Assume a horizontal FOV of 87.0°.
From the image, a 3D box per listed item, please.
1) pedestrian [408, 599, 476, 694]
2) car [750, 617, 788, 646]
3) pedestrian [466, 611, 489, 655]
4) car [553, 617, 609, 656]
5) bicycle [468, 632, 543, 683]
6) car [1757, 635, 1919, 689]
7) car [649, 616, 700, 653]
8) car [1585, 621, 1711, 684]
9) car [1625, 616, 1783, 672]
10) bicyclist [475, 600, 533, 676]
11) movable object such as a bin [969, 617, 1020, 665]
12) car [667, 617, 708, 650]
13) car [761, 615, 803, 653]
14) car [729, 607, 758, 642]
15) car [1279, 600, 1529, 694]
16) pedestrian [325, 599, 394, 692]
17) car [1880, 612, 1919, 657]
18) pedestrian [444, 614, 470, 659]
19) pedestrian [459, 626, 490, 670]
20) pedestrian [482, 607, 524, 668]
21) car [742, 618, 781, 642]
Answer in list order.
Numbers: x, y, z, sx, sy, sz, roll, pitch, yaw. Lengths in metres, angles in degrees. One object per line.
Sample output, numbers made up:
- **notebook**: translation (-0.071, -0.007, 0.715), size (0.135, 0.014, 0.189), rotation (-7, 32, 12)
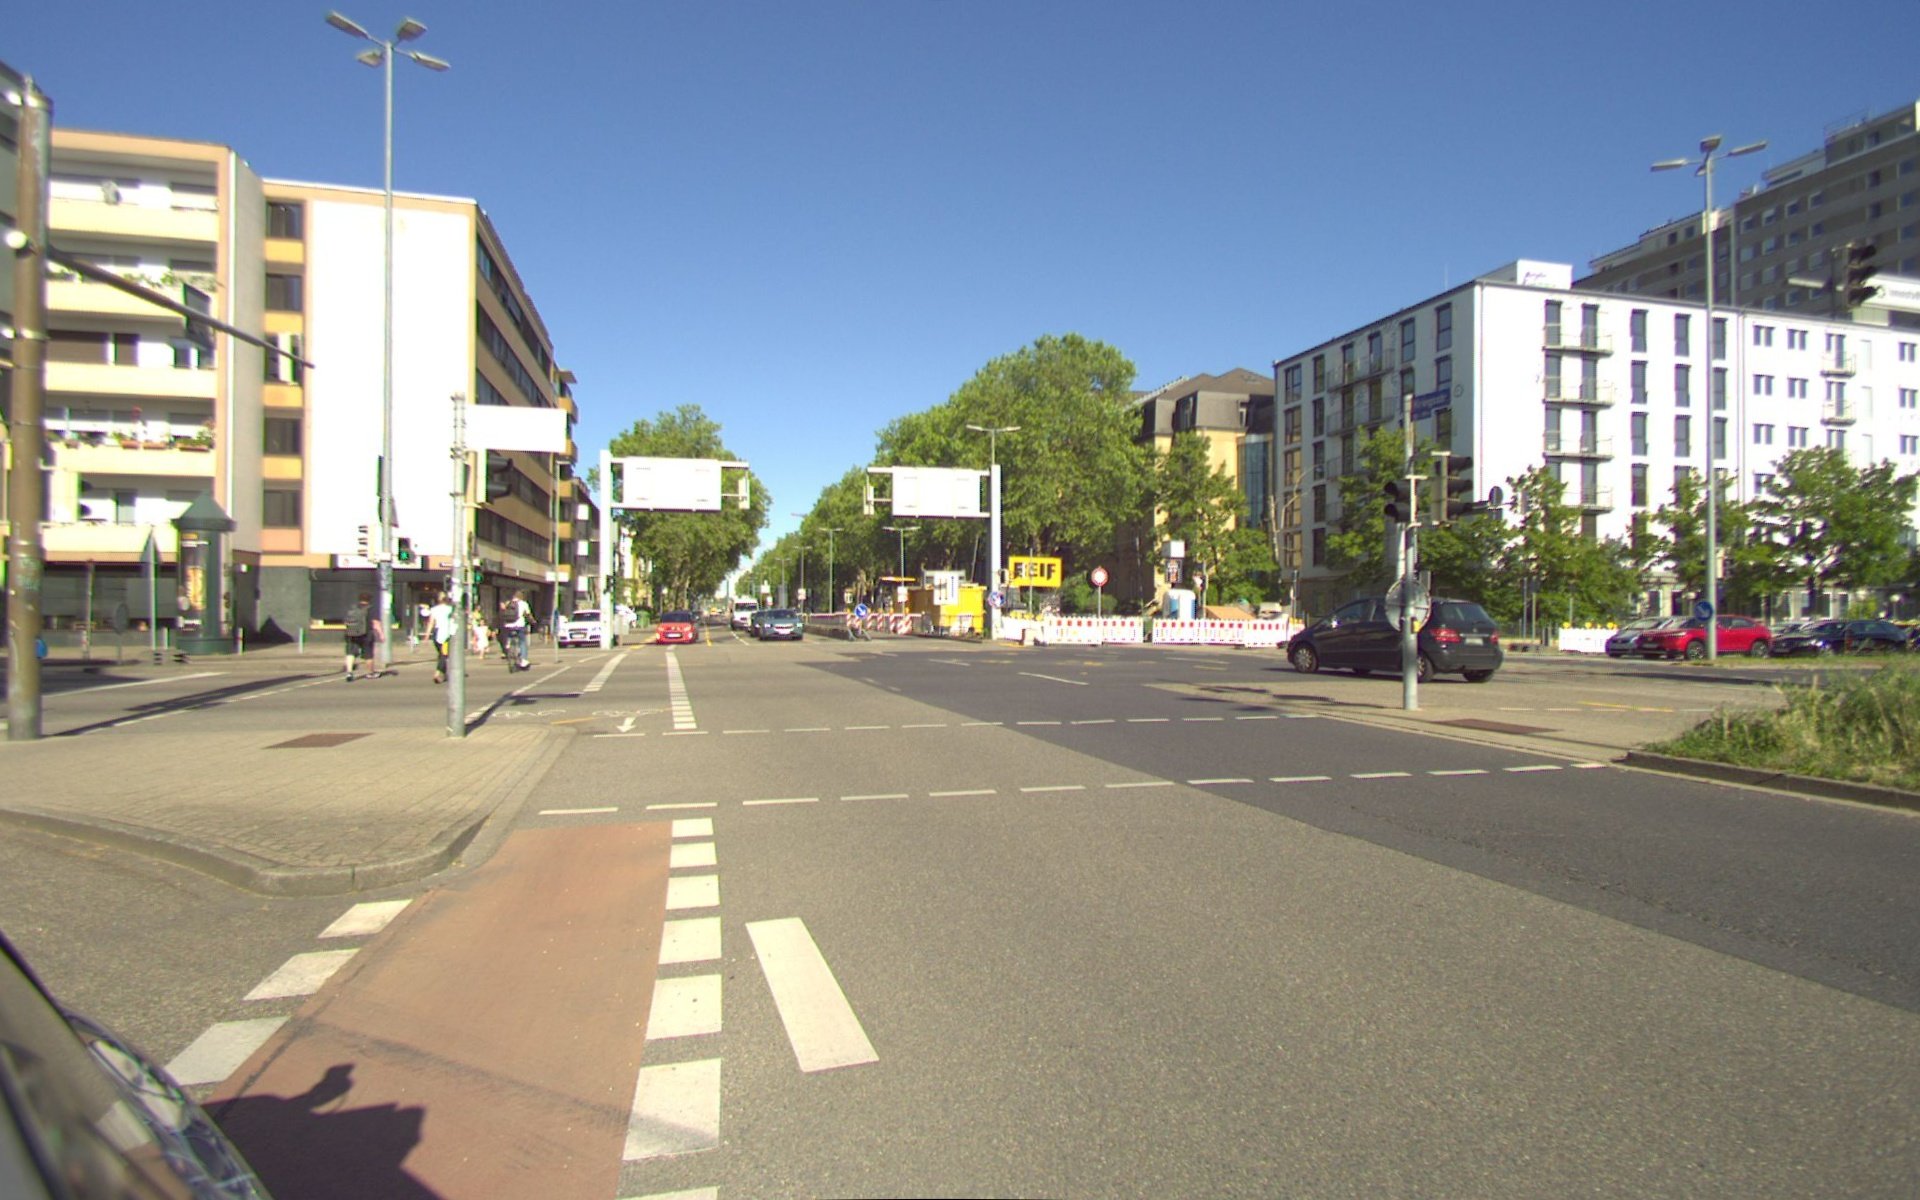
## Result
- **pedestrian**: translation (-9.407, 0.820, 18.378), size (0.929, 1.619, 0.777), rotation (1, 2, 39)
- **car**: translation (-10.674, 1.736, 56.319), size (1.853, 1.530, 4.011), rotation (0, -1, -14)
- **pedestrian**: translation (-19.215, 1.288, 40.301), size (0.707, 1.691, 0.699), rotation (-1, 2, -15)
- **car**: translation (-16.337, 1.591, 43.807), size (1.853, 1.530, 4.562), rotation (-1, -2, -15)
- **bicycle**: translation (-9.615, 1.205, 21.468), size (0.854, 0.998, 1.904), rotation (0, -1, -4)
- **car**: translation (30.657, 2.123, 35.162), size (4.636, 1.630, 1.923), rotation (-1, 2, -8)
- **car**: translation (-12.739, 1.509, 45.348), size (1.854, 1.530, 4.009), rotation (-1, 0, -10)
- **car**: translation (25.578, 1.916, 37.628), size (3.931, 2.028, 2.007), rotation (-1, 2, -22)
- **car**: translation (24.533, 1.416, 33.437), size (3.936, 1.630, 1.923), rotation (-1, 2, -8)
- **bicyclist**: translation (-9.602, 0.788, 21.333), size (0.857, 1.545, 0.853), rotation (0, 0, -3)
- **movable object such as a bin**: translation (2.009, 2.345, 59.683), size (1.966, 2.493, 4.011), rotation (-1, 2, -14)
- **car**: translation (-15.048, 1.812, 56.076), size (1.854, 1.530, 4.009), rotation (-1, 2, -10)
- **car**: translation (-8.522, 1.584, 48.407), size (1.854, 1.530, 4.009), rotation (-1, 2, -10)
- **car**: translation (-16.244, 1.824, 75.708), size (1.853, 2.531, 4.463), rotation (0, -1, -15)
- **car**: translation (8.330, 0.823, 19.456), size (1.831, 1.597, 4.292), rotation (0, -1, -23)
- **pedestrian**: translation (-11.279, 0.821, 19.012), size (0.984, 1.655, 0.787), rotation (1, 2, 39)
- **car**: translation (38.584, 1.315, 39.552), size (3.934, 1.630, 1.924), rotation (-1, 2, -12)
- **pedestrian**: translation (-19.532, 1.396, 39.277), size (0.709, 1.691, 0.697), rotation (-2, 3, -43)
- **pedestrian**: translation (-13.630, 1.341, 28.406), size (0.638, 1.211, 0.527), rotation (-1, 2, -6)
- **pedestrian**: translation (-12.824, 1.047, 28.404), size (0.884, 1.634, 0.722), rotation (-1, 2, -6)
- **car**: translation (-13.085, 1.950, 66.680), size (1.852, 1.530, 4.013), rotation (0, -1, -21)
